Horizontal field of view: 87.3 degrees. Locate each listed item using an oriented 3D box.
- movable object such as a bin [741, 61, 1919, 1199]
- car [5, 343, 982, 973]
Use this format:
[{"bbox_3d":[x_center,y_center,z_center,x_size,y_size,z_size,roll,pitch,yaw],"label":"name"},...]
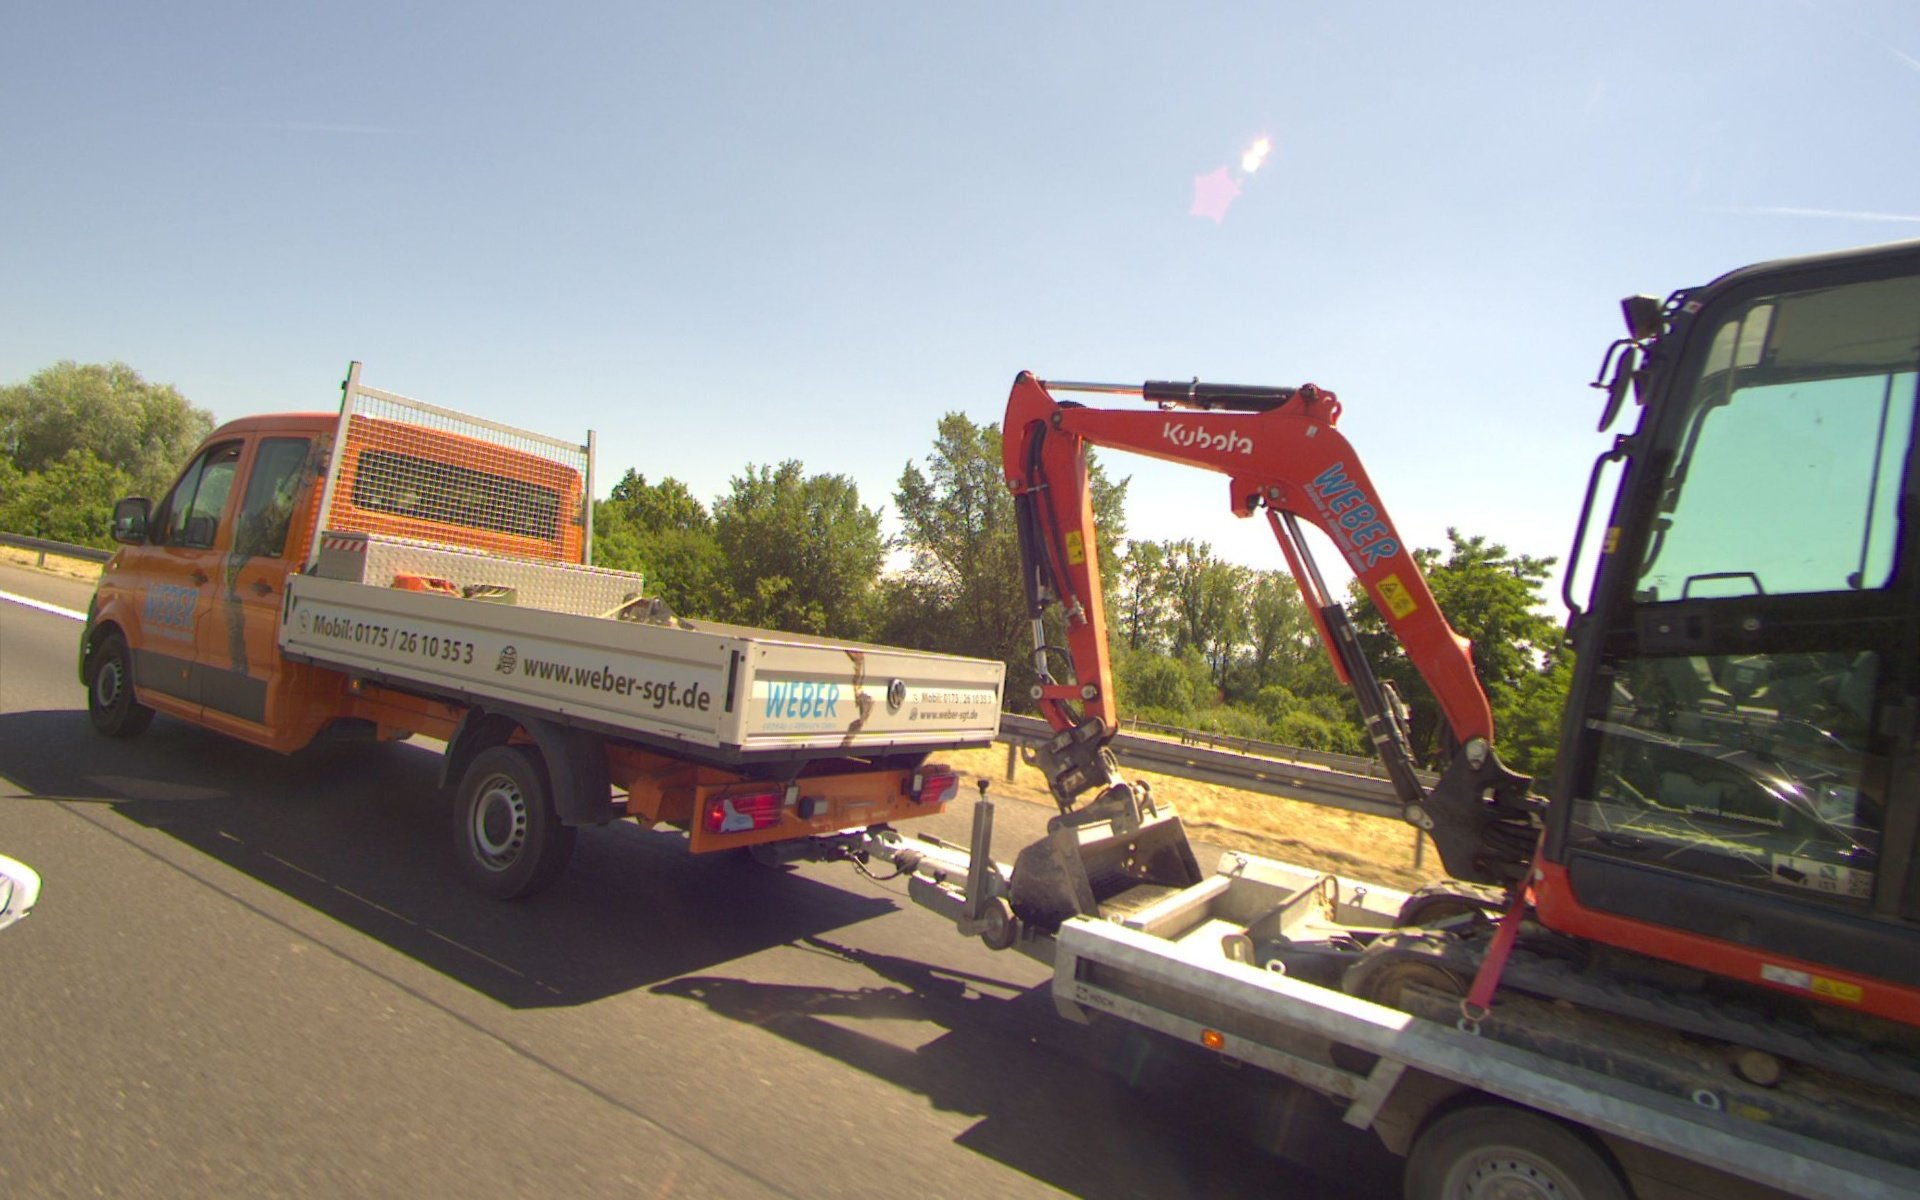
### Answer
[{"bbox_3d":[1.927,0.342,3.319,4.682,2.848,2.179,6,-2,32],"label":"movable object such as a bin"},{"bbox_3d":[-3.539,-0.011,6.585,7.106,2.432,1.998,6,-2,32],"label":"car"}]
